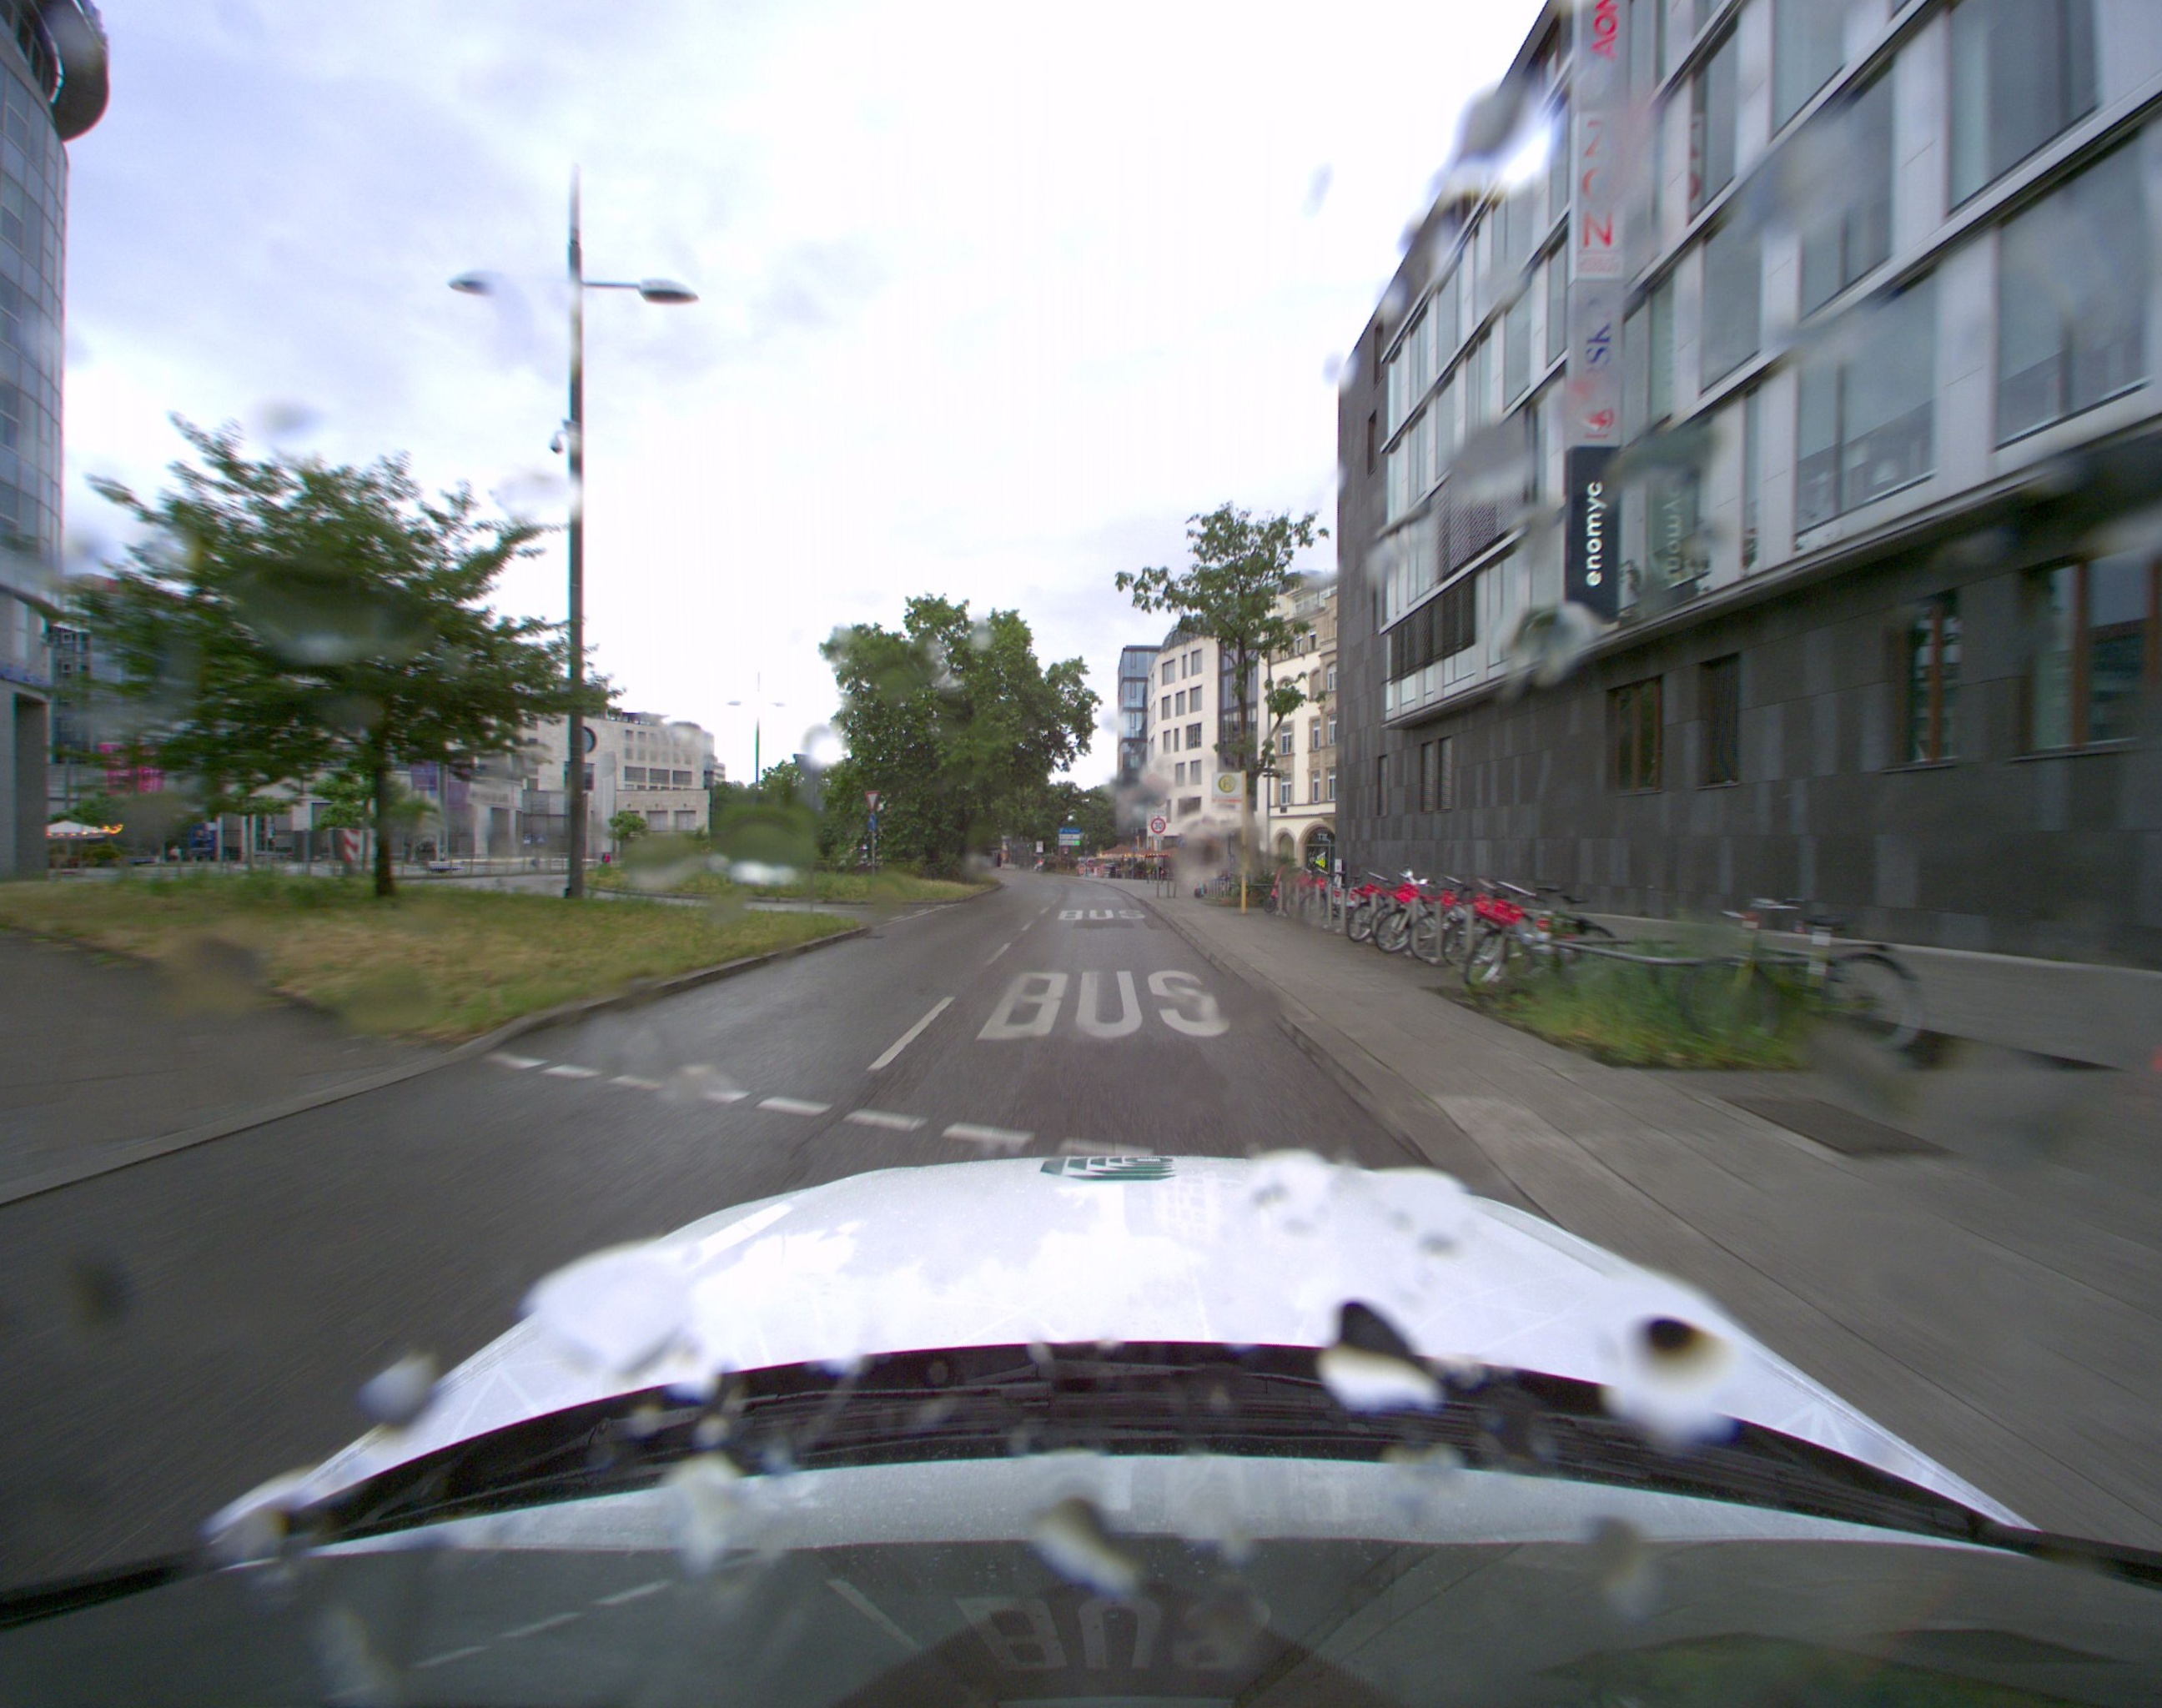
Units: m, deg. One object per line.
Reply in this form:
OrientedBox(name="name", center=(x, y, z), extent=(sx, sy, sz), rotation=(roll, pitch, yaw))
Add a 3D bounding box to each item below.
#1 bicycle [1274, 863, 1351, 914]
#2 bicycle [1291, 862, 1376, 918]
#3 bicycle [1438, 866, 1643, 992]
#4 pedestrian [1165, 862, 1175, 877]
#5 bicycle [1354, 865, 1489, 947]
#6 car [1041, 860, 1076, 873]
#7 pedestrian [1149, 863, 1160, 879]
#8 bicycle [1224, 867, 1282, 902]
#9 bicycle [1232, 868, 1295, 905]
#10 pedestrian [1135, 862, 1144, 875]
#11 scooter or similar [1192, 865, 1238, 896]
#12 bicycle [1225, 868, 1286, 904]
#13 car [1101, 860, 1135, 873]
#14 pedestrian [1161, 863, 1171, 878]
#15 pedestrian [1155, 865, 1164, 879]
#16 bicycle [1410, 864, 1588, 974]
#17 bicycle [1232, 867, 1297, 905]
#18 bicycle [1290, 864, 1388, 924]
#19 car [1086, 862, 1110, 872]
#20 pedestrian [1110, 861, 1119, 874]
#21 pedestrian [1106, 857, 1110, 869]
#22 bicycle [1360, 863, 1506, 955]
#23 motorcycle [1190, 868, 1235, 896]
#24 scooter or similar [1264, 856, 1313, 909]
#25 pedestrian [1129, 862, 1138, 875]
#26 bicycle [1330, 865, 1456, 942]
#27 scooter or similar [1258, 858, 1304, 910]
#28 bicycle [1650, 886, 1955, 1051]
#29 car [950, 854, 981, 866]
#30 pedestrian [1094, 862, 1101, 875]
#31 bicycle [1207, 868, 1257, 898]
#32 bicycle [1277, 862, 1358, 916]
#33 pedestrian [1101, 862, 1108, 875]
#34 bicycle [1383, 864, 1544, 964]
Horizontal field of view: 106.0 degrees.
OrientedBox(name="bicycle", center=(5.220, 0.769, 18.403), extent=(1.532, 1.140, 0.661), rotation=(0, -2, -6))
OrientedBox(name="bicycle", center=(5.199, 0.731, 16.810), extent=(1.532, 1.140, 0.688), rotation=(0, -2, -6))
OrientedBox(name="bicycle", center=(4.634, 0.726, 8.262), extent=(1.727, 1.183, 0.688), rotation=(-1, 0, -6))
OrientedBox(name="pedestrian", center=(8.145, 1.455, 74.672), extent=(0.629, 1.326, 0.631), rotation=(3, -1, -24))
OrientedBox(name="bicycle", center=(5.018, 0.753, 12.063), extent=(1.727, 1.140, 0.688), rotation=(-1, 0, -6))
OrientedBox(name="car", center=(-3.116, 1.726, 112.357), extent=(4.719, 1.691, 2.004), rotation=(1, 0, 0))
OrientedBox(name="pedestrian", center=(6.347, 1.438, 70.337), extent=(0.772, 1.326, 0.635), rotation=(3, -1, -4))
OrientedBox(name="bicycle", center=(5.773, 1.027, 27.413), extent=(1.791, 1.108, 0.669), rotation=(2, -2, -5))
OrientedBox(name="bicycle", center=(5.578, 0.990, 24.887), extent=(1.791, 1.068, 0.555), rotation=(2, -2, -4))
OrientedBox(name="pedestrian", center=(6.124, 1.540, 85.502), extent=(0.815, 1.326, 0.635), rotation=(2, -1, -4))
OrientedBox(name="scooter or similar", center=(5.601, 1.124, 34.132), extent=(1.789, 1.243, 0.595), rotation=(2, -2, -5))
OrientedBox(name="bicycle", center=(5.468, 1.000, 25.514), extent=(1.791, 1.068, 0.555), rotation=(2, -2, -4))
OrientedBox(name="car", center=(5.207, 1.802, 114.614), extent=(4.719, 1.691, 2.004), rotation=(1, 0, 0))
OrientedBox(name="pedestrian", center=(7.847, 1.546, 75.479), extent=(0.629, 1.326, 0.631), rotation=(3, -1, -24))
OrientedBox(name="pedestrian", center=(7.388, 1.671, 76.770), extent=(0.629, 1.326, 0.631), rotation=(3, -1, -24))
OrientedBox(name="bicycle", center=(4.820, 0.725, 9.446), extent=(1.727, 1.183, 0.688), rotation=(-1, 0, -6))
OrientedBox(name="bicycle", center=(5.421, 0.950, 24.060), extent=(1.791, 1.068, 0.555), rotation=(2, -2, -4))
OrientedBox(name="bicycle", center=(5.051, 0.770, 16.016), extent=(1.703, 1.140, 0.688), rotation=(0, -2, -6))
OrientedBox(name="car", center=(2.542, 1.981, 122.564), extent=(1.623, 1.416, 3.486), rotation=(3, -1, -43))
OrientedBox(name="pedestrian", center=(3.534, 1.436, 85.646), extent=(0.815, 1.326, 0.635), rotation=(2, -1, -4))
OrientedBox(name="pedestrian", center=(4.295, 1.485, 129.382), extent=(0.621, 1.933, 0.789), rotation=(1, -1, 7))
OrientedBox(name="bicycle", center=(4.828, 0.737, 11.226), extent=(1.727, 1.183, 0.688), rotation=(-1, 0, -6))
OrientedBox(name="motorcycle", center=(5.636, 1.205, 34.920), extent=(1.789, 1.140, 0.595), rotation=(2, -2, -5))
OrientedBox(name="scooter or similar", center=(4.986, 0.678, 19.566), extent=(1.104, 1.258, 0.302), rotation=(0, -2, -7))
OrientedBox(name="pedestrian", center=(5.597, 1.537, 86.349), extent=(0.815, 1.326, 0.635), rotation=(2, -1, -4))
OrientedBox(name="bicycle", center=(4.914, 0.761, 12.887), extent=(1.727, 1.140, 0.688), rotation=(-1, 0, -6))
OrientedBox(name="scooter or similar", center=(4.893, 0.721, 19.927), extent=(1.059, 1.258, 0.302), rotation=(0, -2, -7))
OrientedBox(name="bicycle", center=(5.248, 0.795, 5.978), extent=(1.727, 1.070, 0.688), rotation=(-1, 0, -6))
OrientedBox(name="car", center=(-17.056, 0.919, 120.439), extent=(4.289, 1.666, 1.965), rotation=(0, -1, 34))
OrientedBox(name="pedestrian", center=(1.681, 1.489, 83.612), extent=(0.605, 1.326, 0.567), rotation=(2, -1, -4))
OrientedBox(name="bicycle", center=(5.950, 1.149, 32.112), extent=(1.791, 1.108, 0.669), rotation=(2, -2, -5))
OrientedBox(name="bicycle", center=(5.093, 0.752, 17.584), extent=(1.532, 1.140, 0.688), rotation=(0, -2, -6))
OrientedBox(name="pedestrian", center=(2.415, 1.509, 83.662), extent=(0.605, 1.326, 0.567), rotation=(2, -1, -4))
OrientedBox(name="bicycle", center=(4.808, 0.733, 10.285), extent=(1.727, 1.183, 0.688), rotation=(-1, 0, -6))
